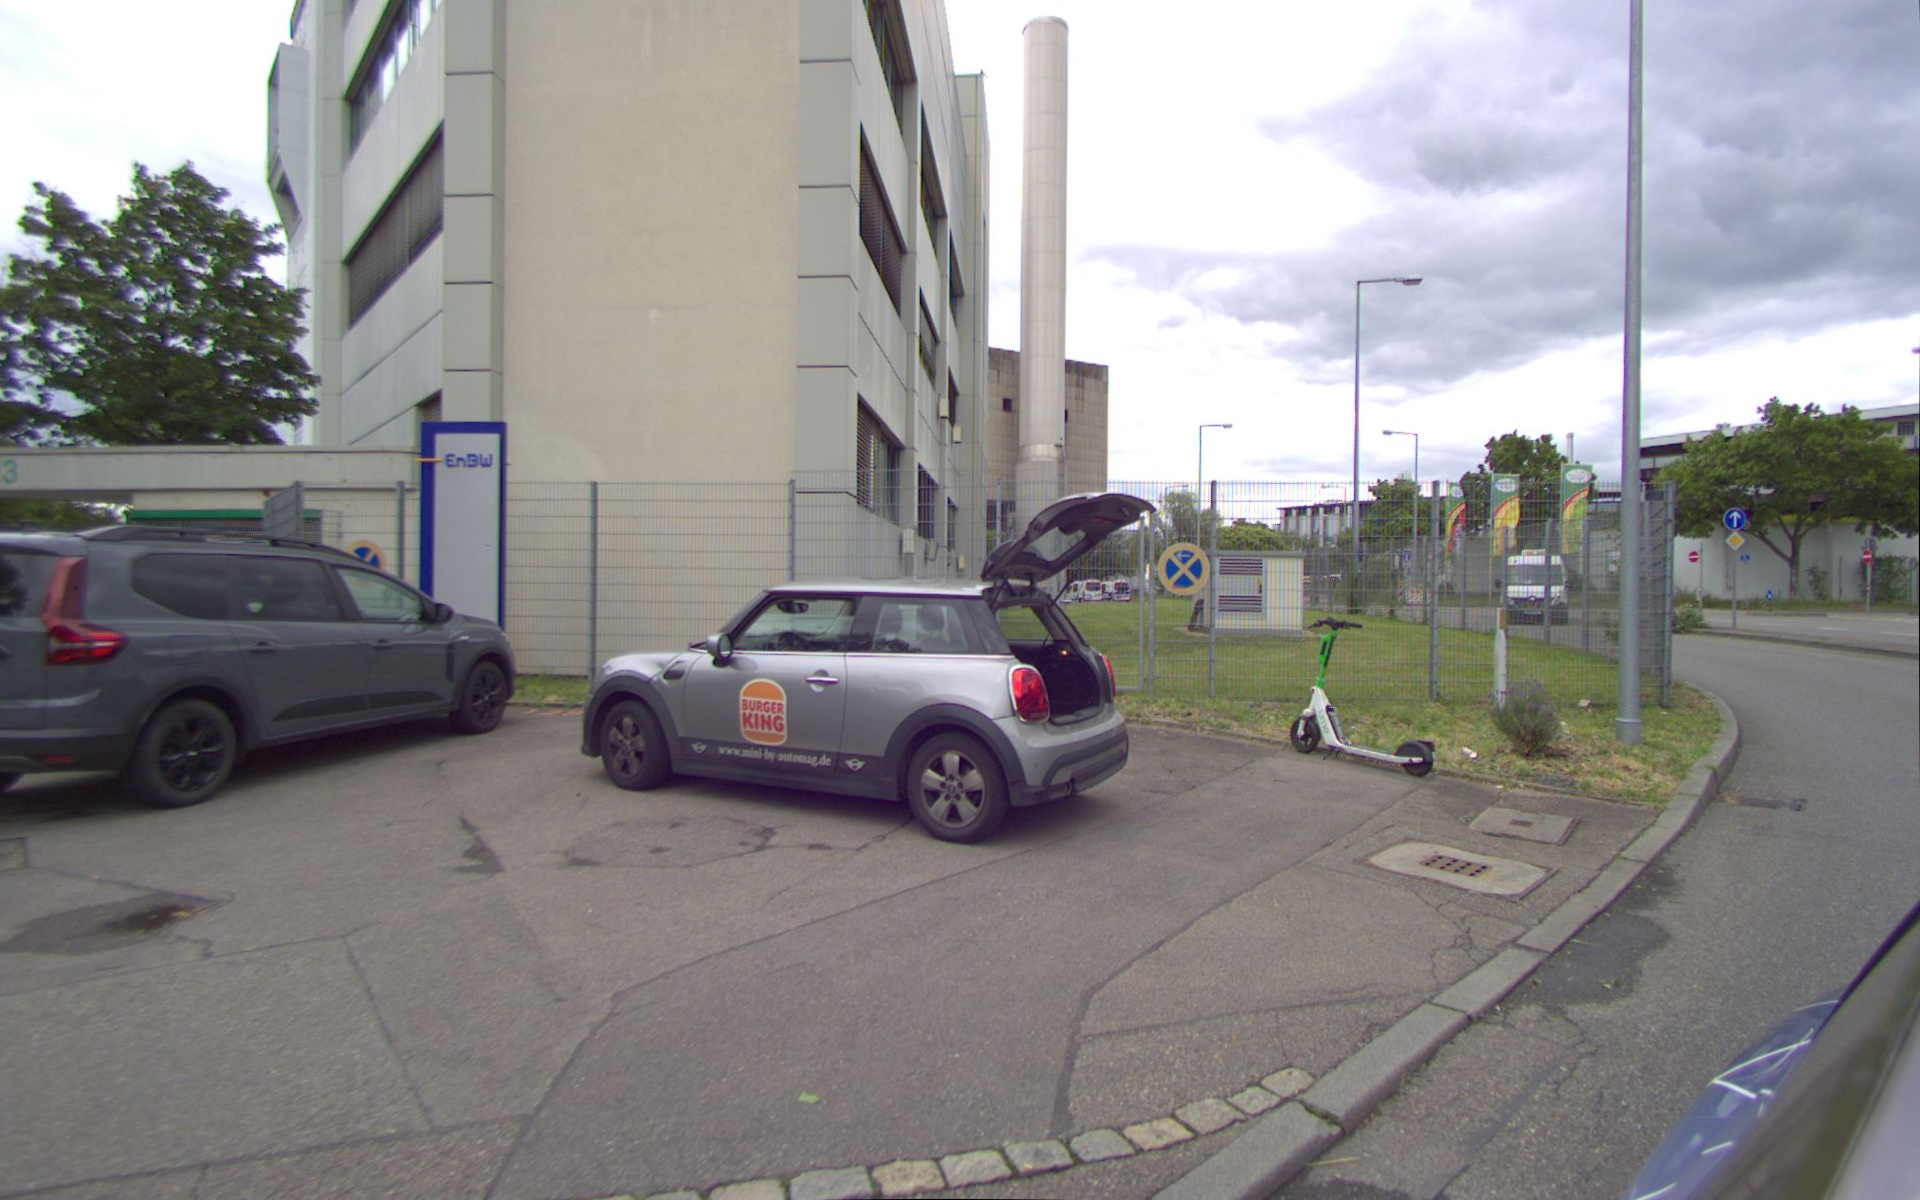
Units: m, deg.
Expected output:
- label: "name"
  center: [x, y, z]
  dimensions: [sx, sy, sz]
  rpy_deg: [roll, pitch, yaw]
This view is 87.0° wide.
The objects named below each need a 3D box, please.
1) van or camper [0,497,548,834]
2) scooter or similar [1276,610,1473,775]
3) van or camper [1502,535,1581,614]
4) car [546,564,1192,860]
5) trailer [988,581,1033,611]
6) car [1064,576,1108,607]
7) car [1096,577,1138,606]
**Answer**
- label: "van or camper"
  center: [-5.157, 0.313, 7.532]
  dimensions: [1.803, 1.715, 4.494]
  rpy_deg: [-1, 1, 9]
- label: "scooter or similar"
  center: [3.305, 0.690, 8.173]
  dimensions: [0.471, 1.147, 1.419]
  rpy_deg: [0, 2, -36]
- label: "van or camper"
  center: [20.846, -0.875, 36.237]
  dimensions: [2.254, 2.589, 6.042]
  rpy_deg: [-1, 1, 31]
- label: "car"
  center: [-0.661, 0.509, 6.730]
  dimensions: [3.983, 1.450, 1.769]
  rpy_deg: [1, 1, 28]
- label: "trailer"
  center: [4.423, -0.361, 90.319]
  dimensions: [2.609, 2.576, 6.443]
  rpy_deg: [0, 0, -10]
- label: "car"
  center: [12.138, -0.810, 97.870]
  dimensions: [2.377, 2.798, 5.462]
  rpy_deg: [0, -2, -13]
- label: "car"
  center: [15.304, -0.829, 99.103]
  dimensions: [2.192, 2.581, 5.199]
  rpy_deg: [0, -2, -13]
